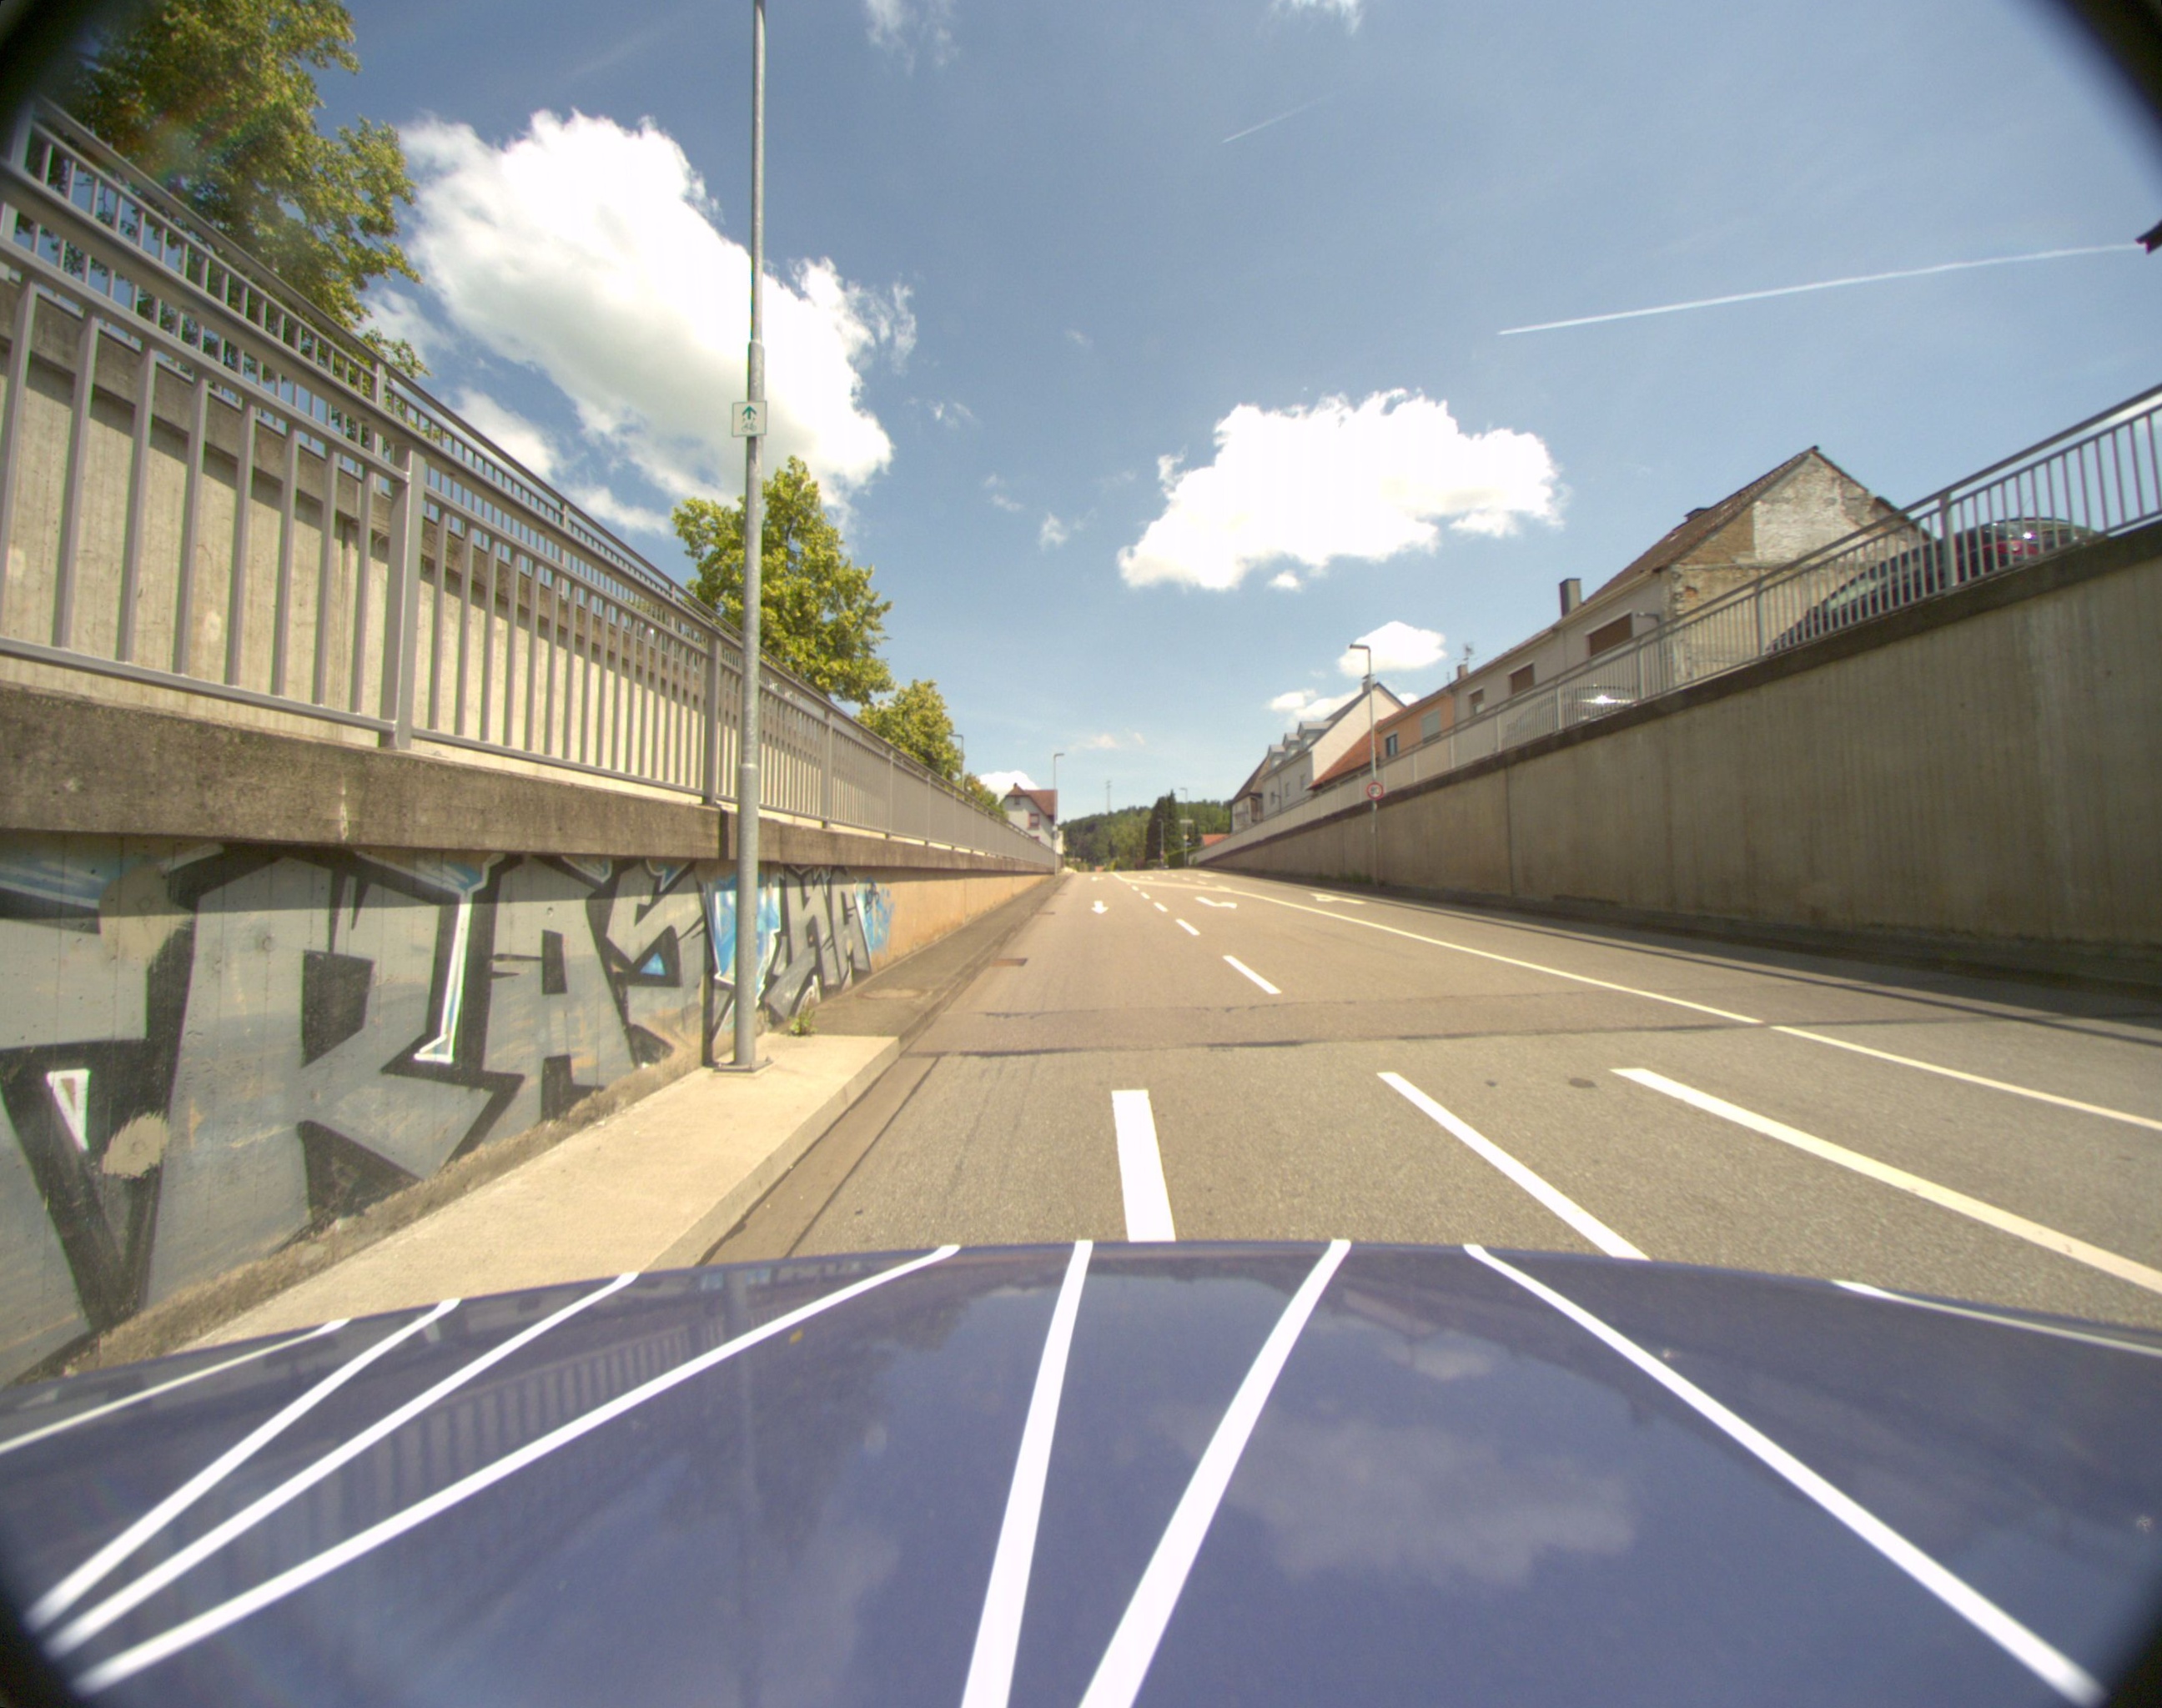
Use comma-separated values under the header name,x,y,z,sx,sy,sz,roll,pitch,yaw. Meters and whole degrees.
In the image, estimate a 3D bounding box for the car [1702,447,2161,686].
name,x,y,z,sx,sy,sz,roll,pitch,yaw
car,11.657,-3.825,10.971,1.827,1.695,4.223,-2,-2,-1

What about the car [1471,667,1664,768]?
name,x,y,z,sx,sy,sz,roll,pitch,yaw
car,11.691,-3.209,18.694,1.803,1.515,4.394,-2,-2,-1

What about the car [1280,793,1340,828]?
name,x,y,z,sx,sy,sz,roll,pitch,yaw
car,12.187,-2.286,40.768,1.790,1.396,4.394,-2,-2,-1
